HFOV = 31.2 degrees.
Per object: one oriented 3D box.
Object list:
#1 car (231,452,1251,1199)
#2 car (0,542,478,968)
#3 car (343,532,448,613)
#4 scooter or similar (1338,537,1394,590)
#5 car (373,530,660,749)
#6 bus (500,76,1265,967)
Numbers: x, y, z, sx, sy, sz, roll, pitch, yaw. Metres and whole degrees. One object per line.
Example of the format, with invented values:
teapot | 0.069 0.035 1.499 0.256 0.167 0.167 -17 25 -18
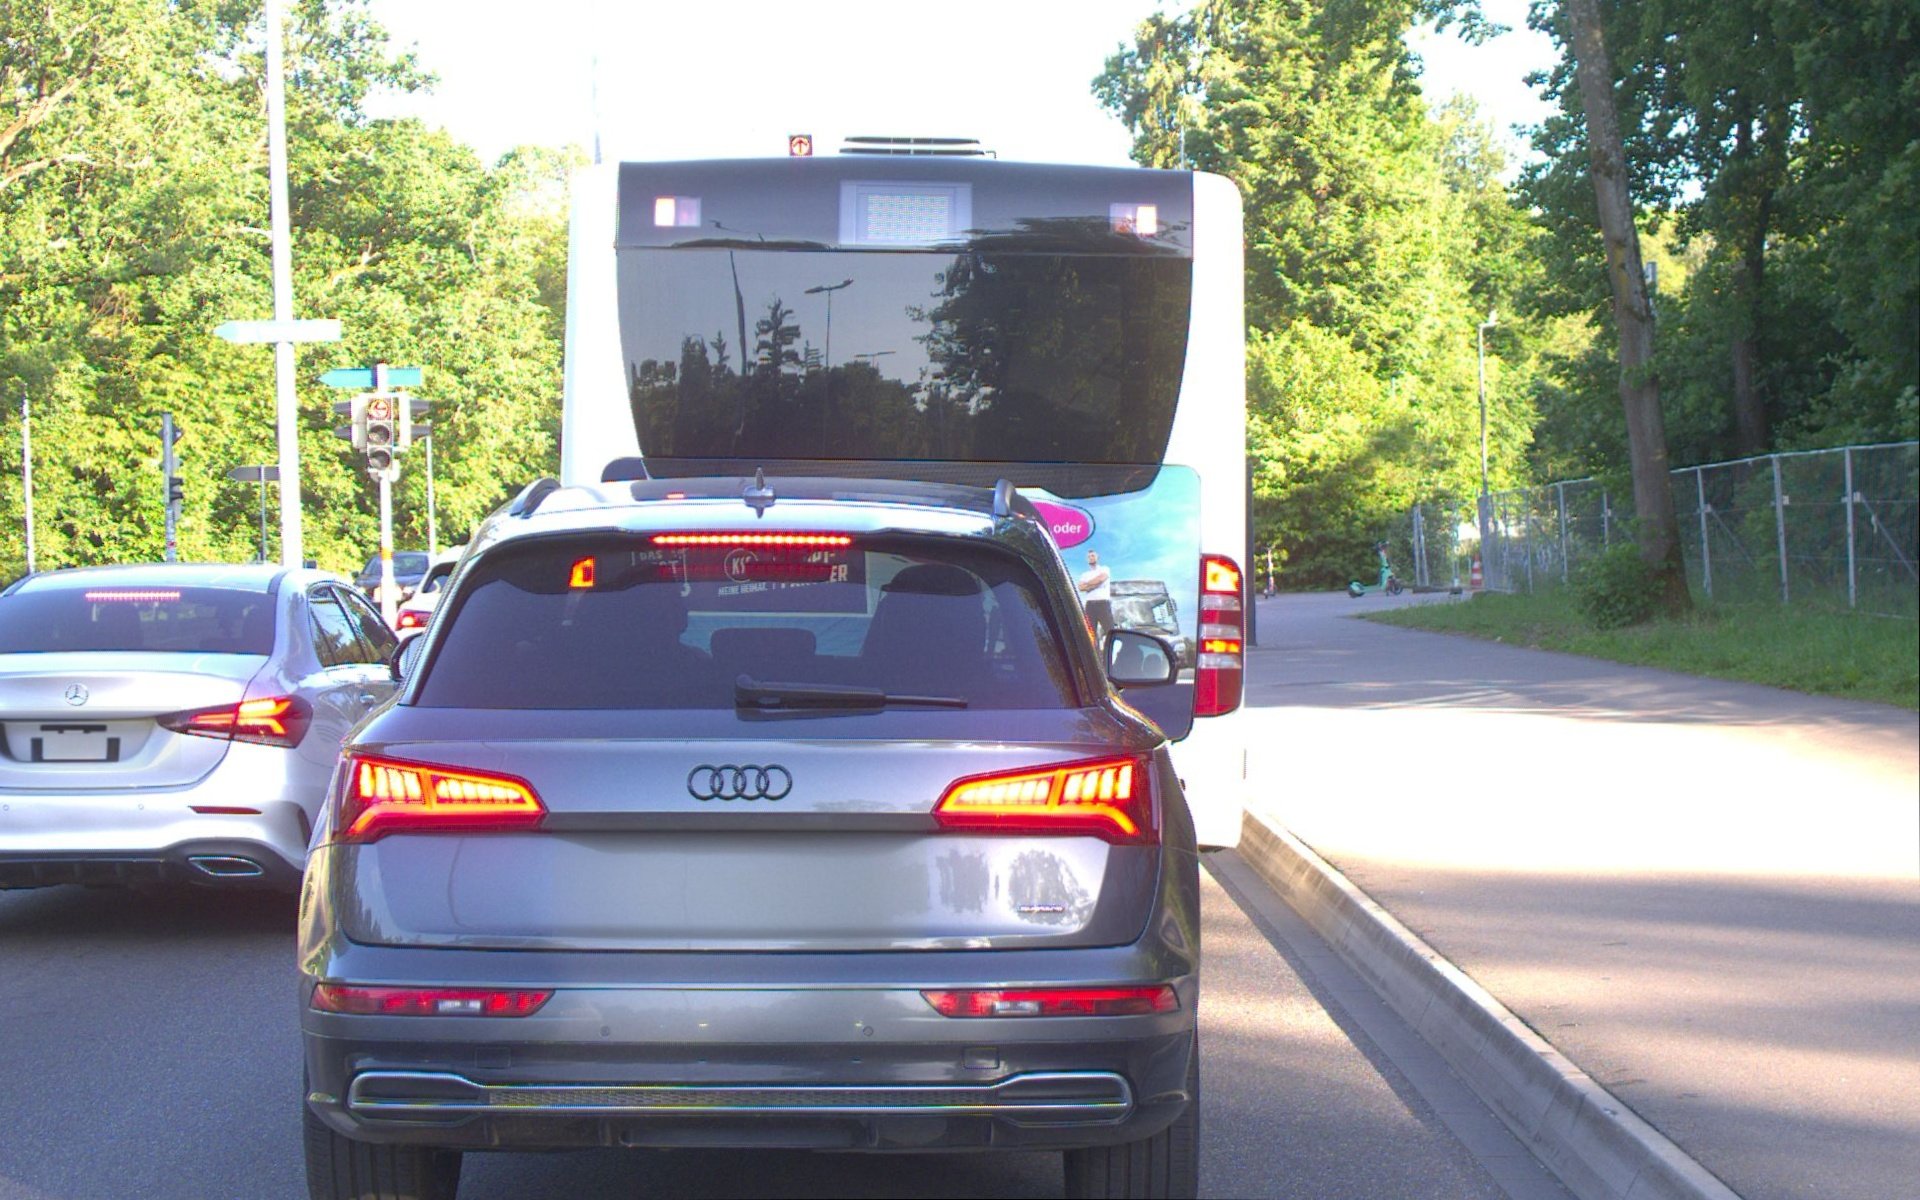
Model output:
car | -0.431 0.513 8.358 1.868 1.658 4.000 1 2 -1
car | -3.163 0.515 14.297 1.785 1.439 4.278 1 2 -1
car | -12.289 -0.617 75.022 1.993 1.656 4.001 -2 1 -6
scooter or similar | 9.208 -0.831 77.958 1.184 1.170 0.659 1 1 11
car | -3.458 0.252 27.451 1.808 1.567 4.000 1 2 -1
bus | -0.247 -0.357 15.165 2.678 3.131 5.882 1 2 1
